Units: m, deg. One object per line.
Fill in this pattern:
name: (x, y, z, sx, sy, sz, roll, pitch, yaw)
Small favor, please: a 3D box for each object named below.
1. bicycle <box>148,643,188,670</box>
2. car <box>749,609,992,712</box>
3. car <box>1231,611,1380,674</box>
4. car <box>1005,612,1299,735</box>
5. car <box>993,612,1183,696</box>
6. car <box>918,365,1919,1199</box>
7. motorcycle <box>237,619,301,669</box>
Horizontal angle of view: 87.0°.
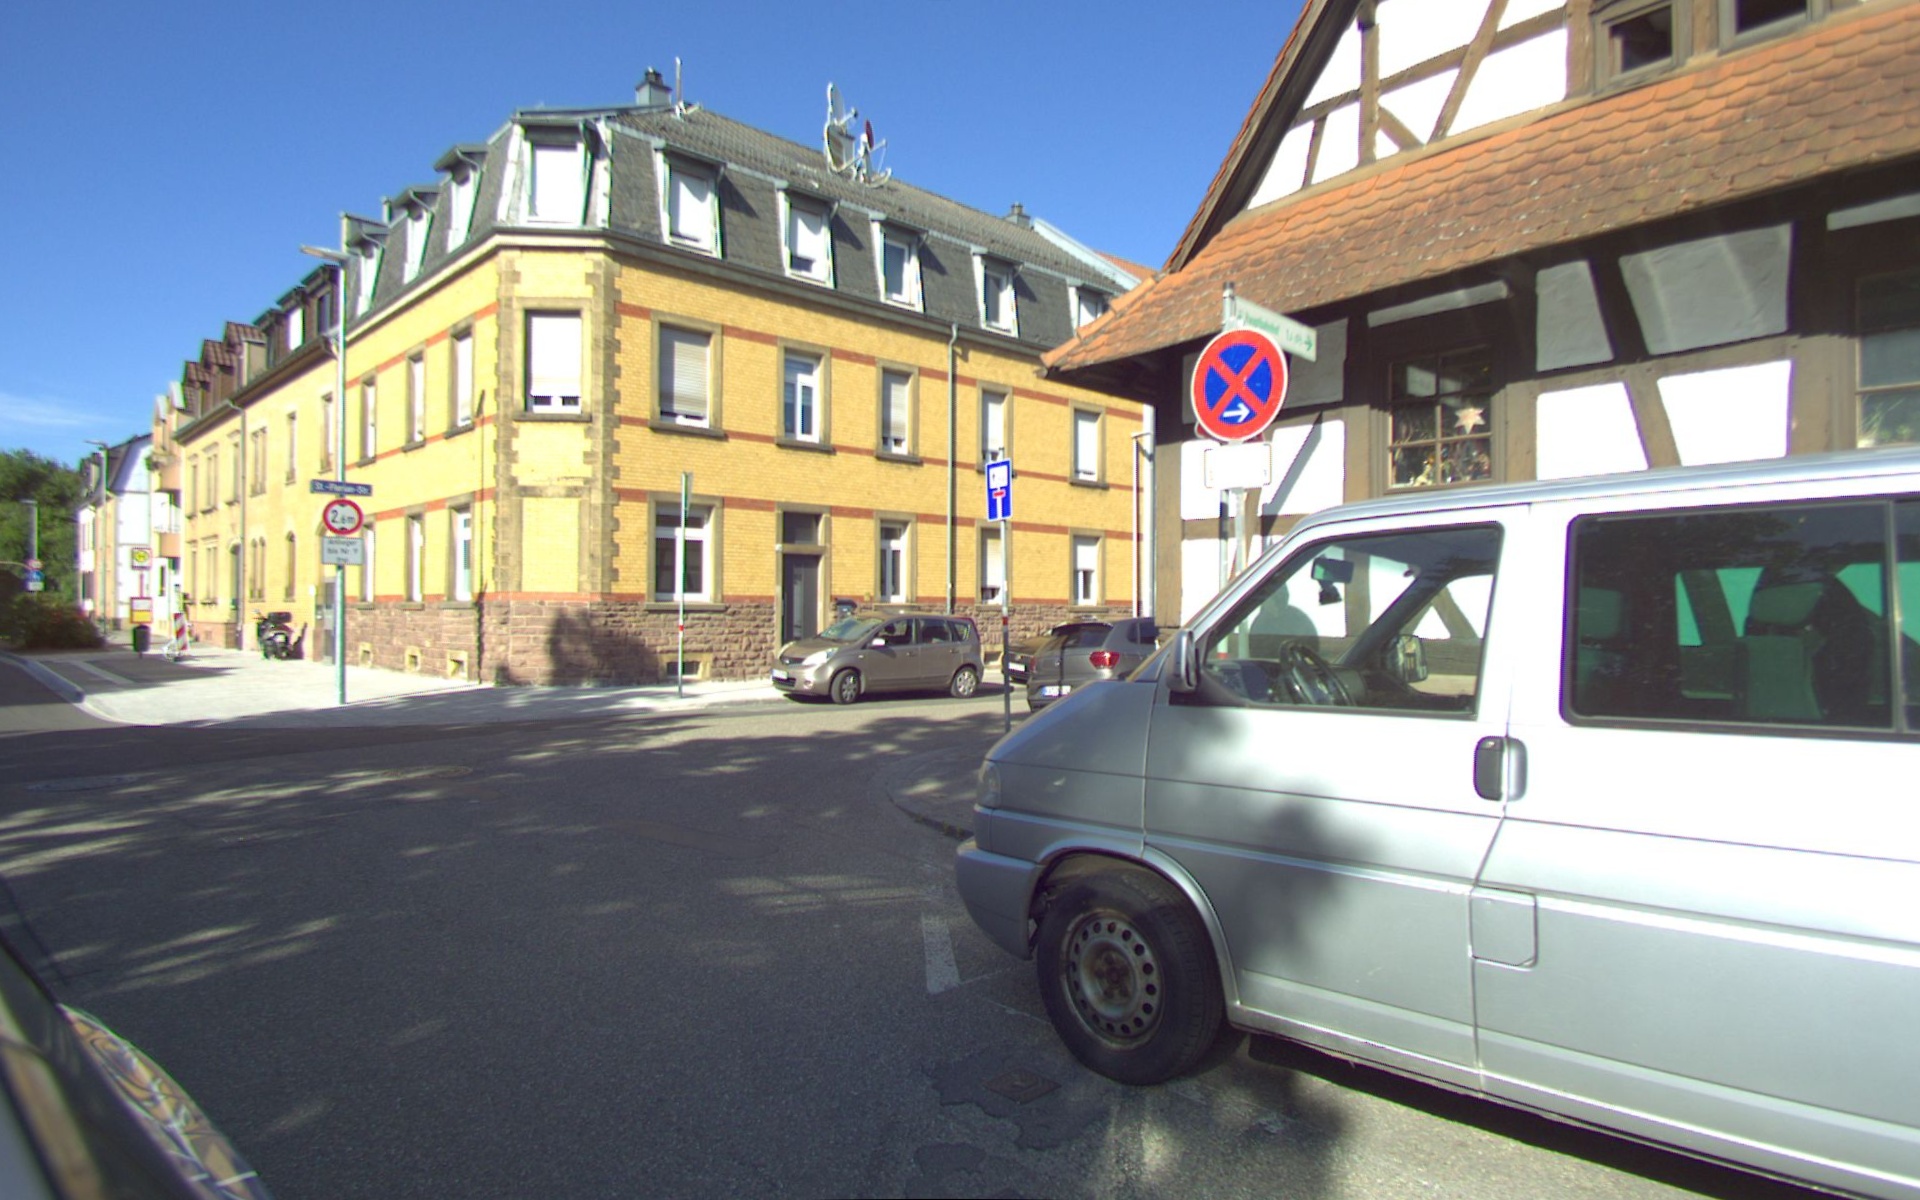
bicycle: (-21.675, 1.538, 27.716, 0.377, 0.614, 1.346, -2, 1, -16)
car: (-1.523, 1.005, 17.937, 3.951, 1.556, 1.719, 2, 1, -38)
car: (9.619, 1.152, 27.992, 4.763, 1.504, 1.890, 2, 1, -44)
car: (2.700, 0.972, 13.917, 3.868, 1.459, 1.861, 2, -5, -38)
car: (2.794, 1.109, 21.671, 3.951, 1.556, 1.719, 2, 1, -38)
car: (2.279, 0.534, 2.680, 4.834, 1.895, 1.855, 0, -2, 42)
motorcycle: (-18.688, 1.162, 27.350, 2.256, 1.261, 0.837, -1, 1, 41)
